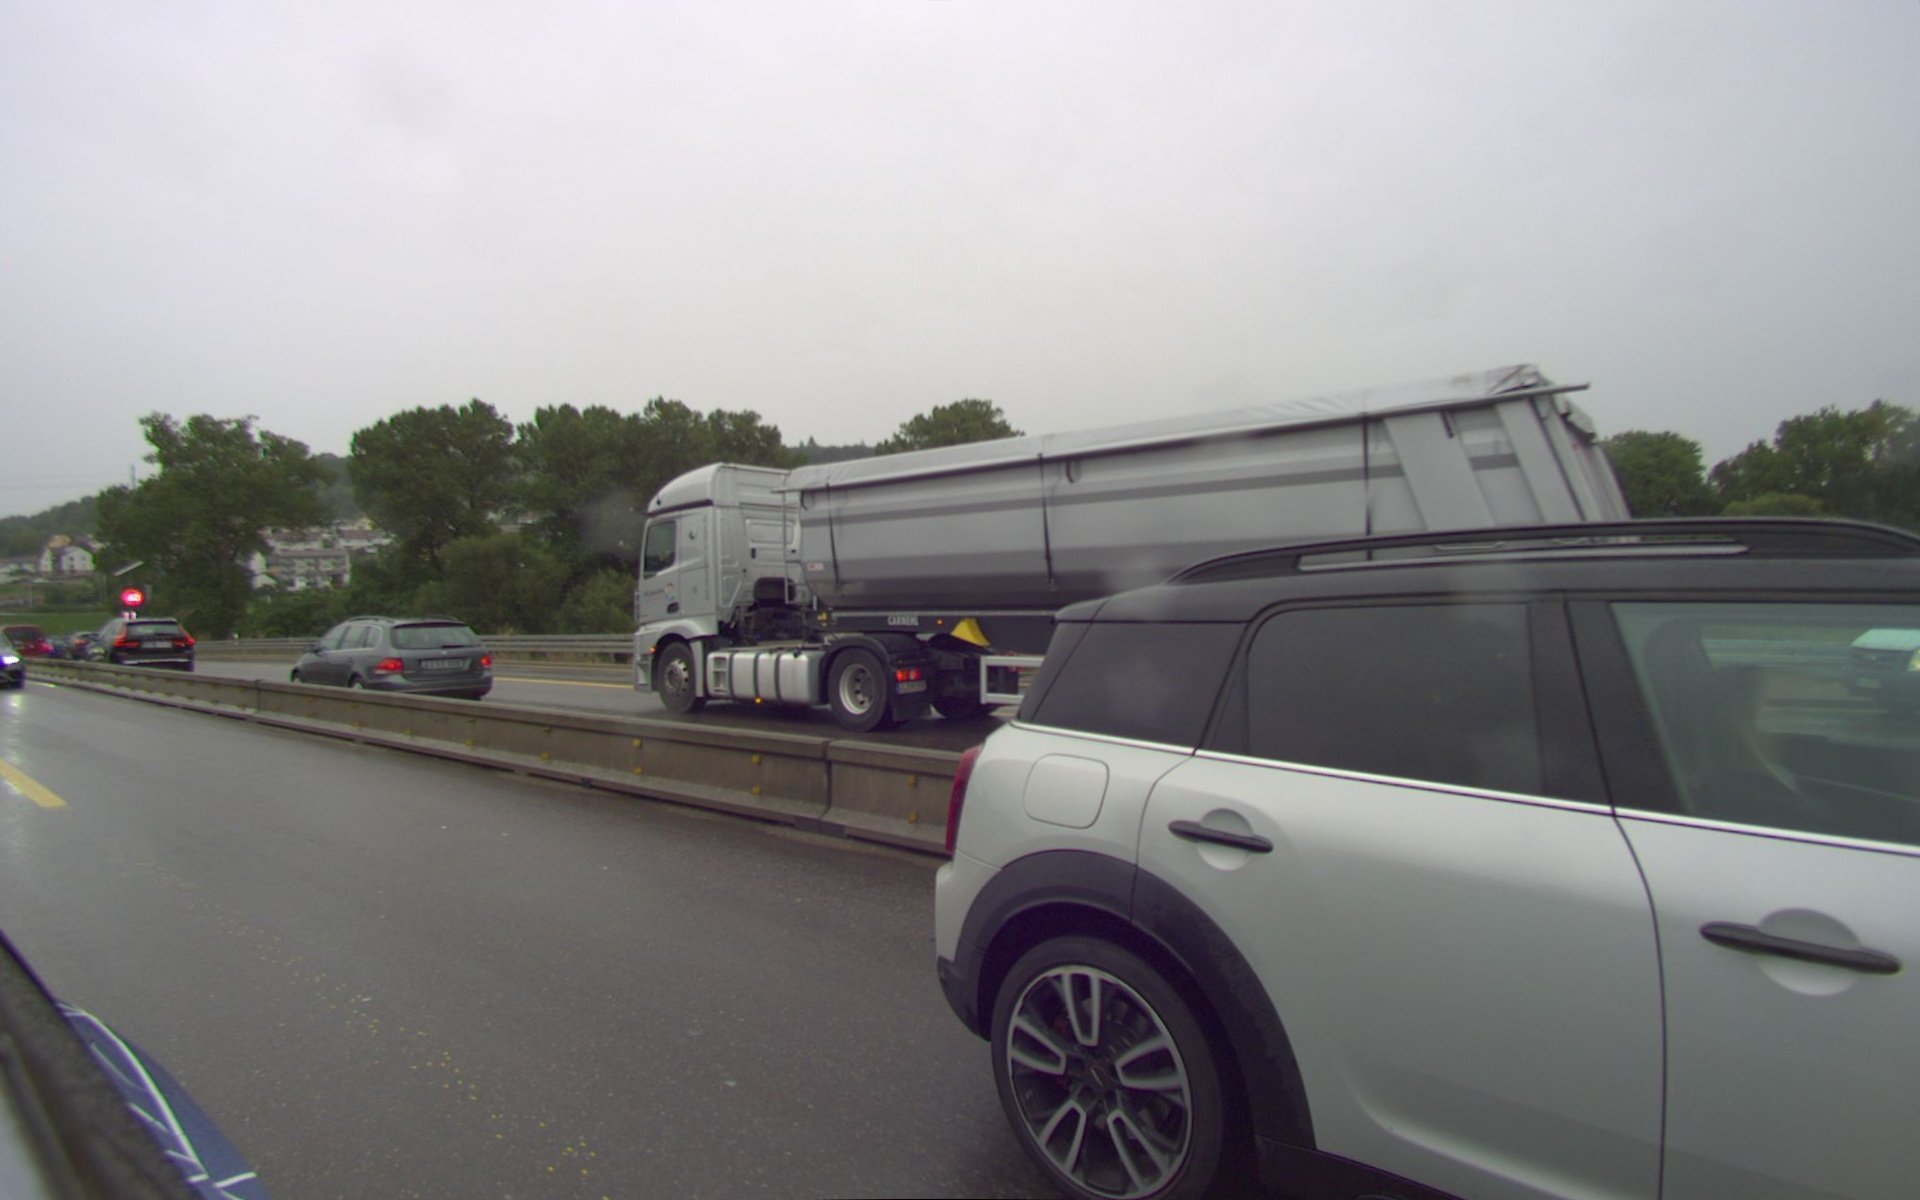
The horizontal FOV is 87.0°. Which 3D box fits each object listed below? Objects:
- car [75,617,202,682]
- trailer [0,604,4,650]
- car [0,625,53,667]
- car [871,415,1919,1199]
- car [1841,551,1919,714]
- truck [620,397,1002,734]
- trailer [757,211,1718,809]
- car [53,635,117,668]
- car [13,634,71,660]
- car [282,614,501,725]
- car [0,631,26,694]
[{"bbox_3d":[-23.033,1.342,28.317,4.467,1.668,1.973,-2,-2,41],"label":"car"},{"bbox_3d":[-87.886,2.568,89.724,13.691,3.938,3.243,-3,-2,41],"label":"trailer"},{"bbox_3d":[-41.667,2.066,44.553,4.839,1.762,1.827,-3,-4,39],"label":"car"},{"bbox_3d":[1.975,0.539,2.052,4.306,1.612,1.797,-3,-1,41],"label":"car"},{"bbox_3d":[14.448,0.344,12.359,4.995,2.029,2.263,-1,-1,13],"label":"car"},{"bbox_3d":[-2.293,-0.332,14.629,5.270,3.957,2.658,-2,-2,40],"label":"truck"},{"bbox_3d":[1.945,-0.479,10.953,9.812,3.994,2.658,-2,-2,41],"label":"trailer"},{"bbox_3d":[-43.422,2.557,50.209,3.996,1.508,1.802,-4,-2,40],"label":"car"},{"bbox_3d":[-56.289,2.892,62.023,4.741,1.522,1.974,-3,-1,39],"label":"car"},{"bbox_3d":[-8.867,0.999,15.659,3.997,1.464,1.692,-2,-1,41],"label":"car"},{"bbox_3d":[-24.373,1.526,24.651,4.481,1.449,1.926,-2,-1,41],"label":"car"}]
